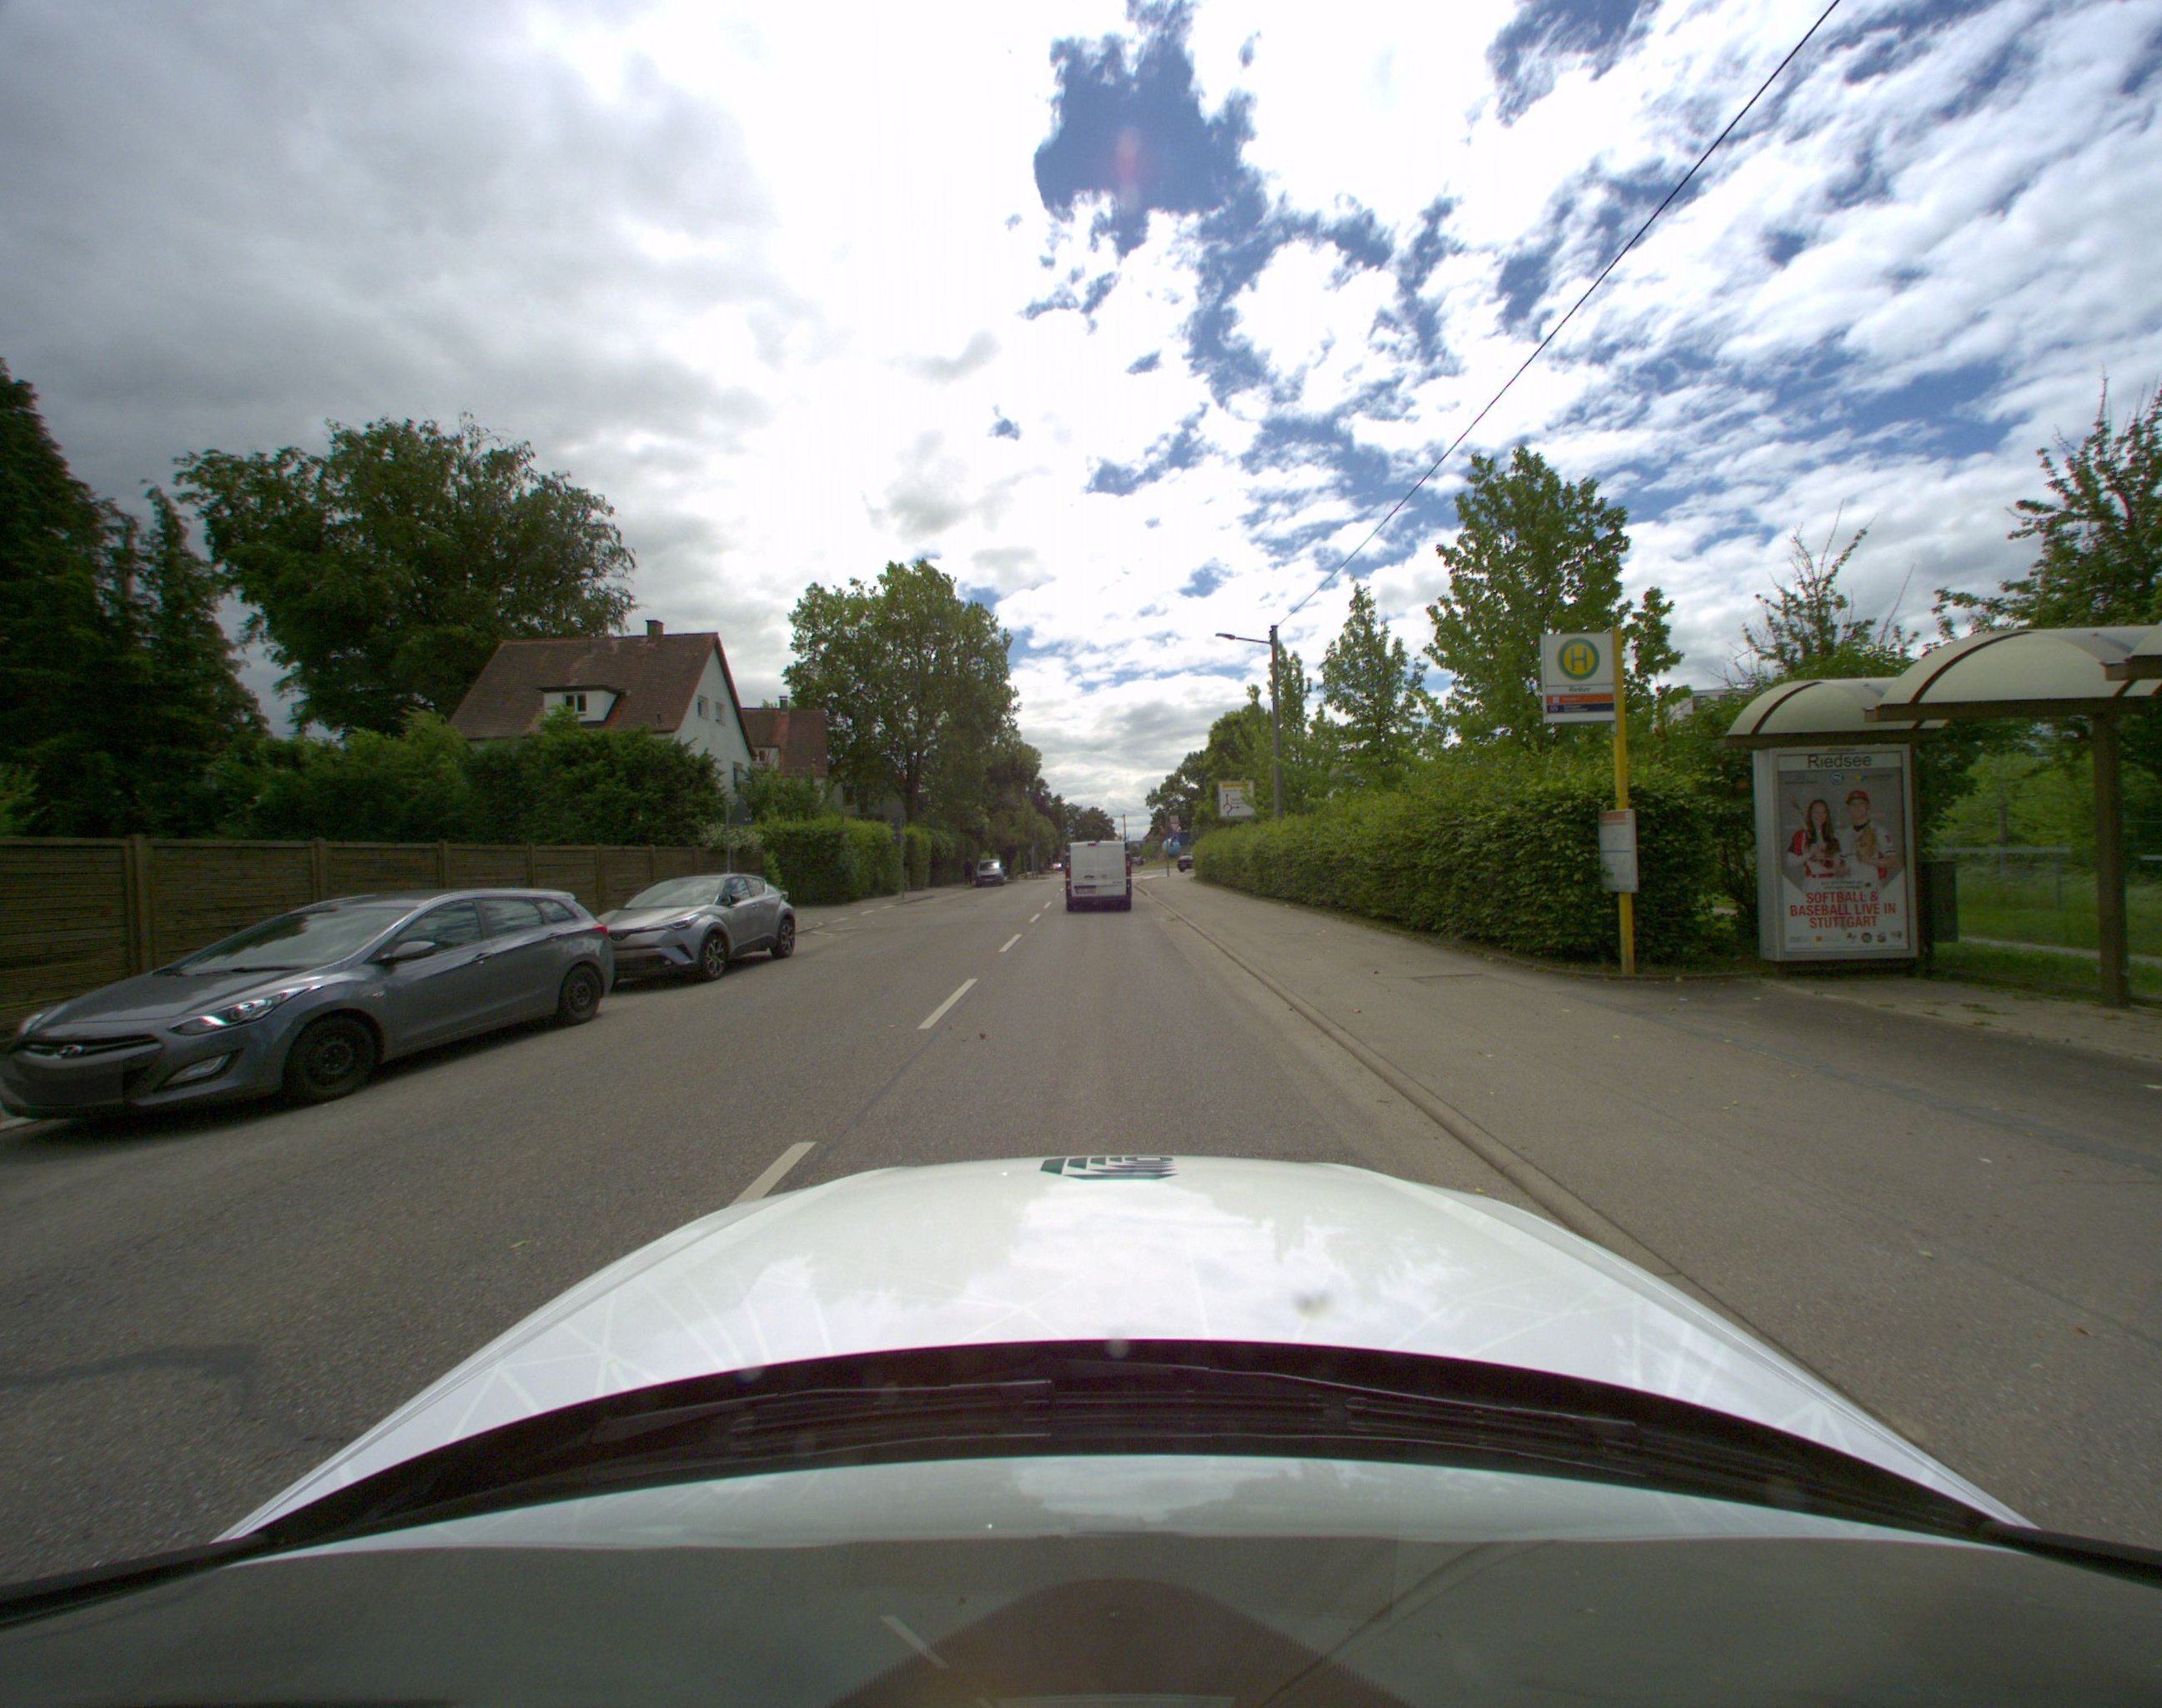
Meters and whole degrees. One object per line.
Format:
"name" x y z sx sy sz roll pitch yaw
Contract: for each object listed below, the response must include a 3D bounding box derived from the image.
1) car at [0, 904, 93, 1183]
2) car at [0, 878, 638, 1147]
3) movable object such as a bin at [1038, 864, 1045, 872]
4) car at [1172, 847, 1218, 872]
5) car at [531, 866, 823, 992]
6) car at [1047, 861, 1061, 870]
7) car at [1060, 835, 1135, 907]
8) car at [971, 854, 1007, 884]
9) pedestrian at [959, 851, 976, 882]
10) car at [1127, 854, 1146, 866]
"car" -6.439 1.064 2.658 1.647 1.427 3.903 -3 1 -2
"car" -6.211 1.045 7.209 1.859 1.459 4.493 -2 0 3
"movable object such as a bin" -4.510 1.609 93.974 0.625 0.863 0.642 -4 -1 11
"car" 9.650 0.462 68.679 1.975 2.013 4.024 0 0 42
"car" -6.022 1.015 12.958 1.984 1.479 4.652 -3 0 4
"car" -4.752 1.938 141.454 2.062 1.386 4.036 -2 1 -8
"car" 0.522 0.457 24.596 2.027 1.945 4.995 0 0 2
"car" -5.808 0.895 51.801 2.129 1.772 4.455 0 0 -6
"pedestrian" -7.502 0.831 53.815 0.870 2.013 1.040 -3 0 -3
"car" 7.787 0.870 115.101 1.931 1.537 3.915 -2 1 -7
